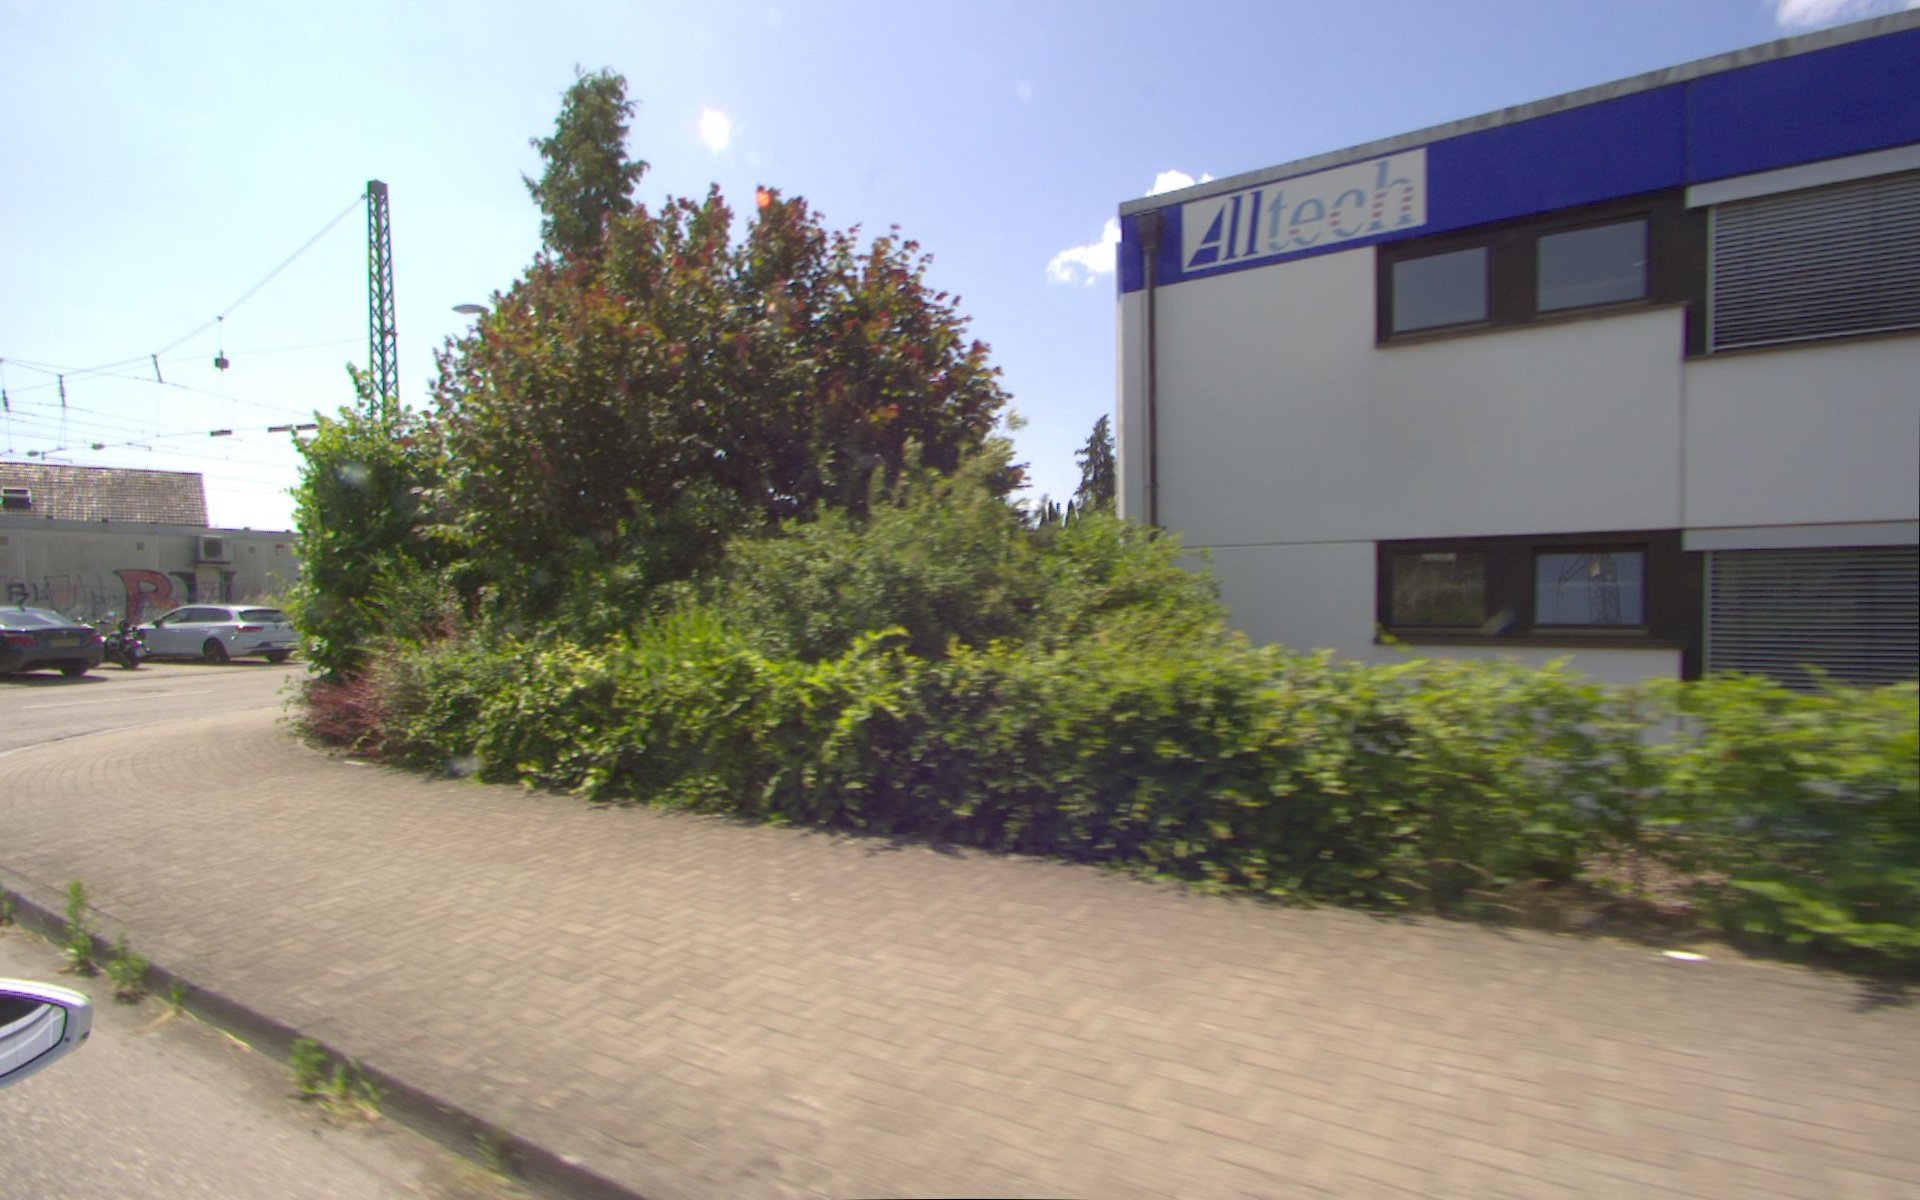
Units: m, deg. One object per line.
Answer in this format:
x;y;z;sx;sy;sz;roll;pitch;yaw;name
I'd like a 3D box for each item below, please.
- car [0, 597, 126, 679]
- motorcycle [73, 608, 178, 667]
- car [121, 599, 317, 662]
-19.331;0.701;20.218;3.924;1.404;1.756;3;0;13;car
-18.886;0.834;22.672;1.959;1.245;0.898;1;1;17;motorcycle
-18.408;0.746;24.919;4.037;1.395;1.707;1;-1;14;car
